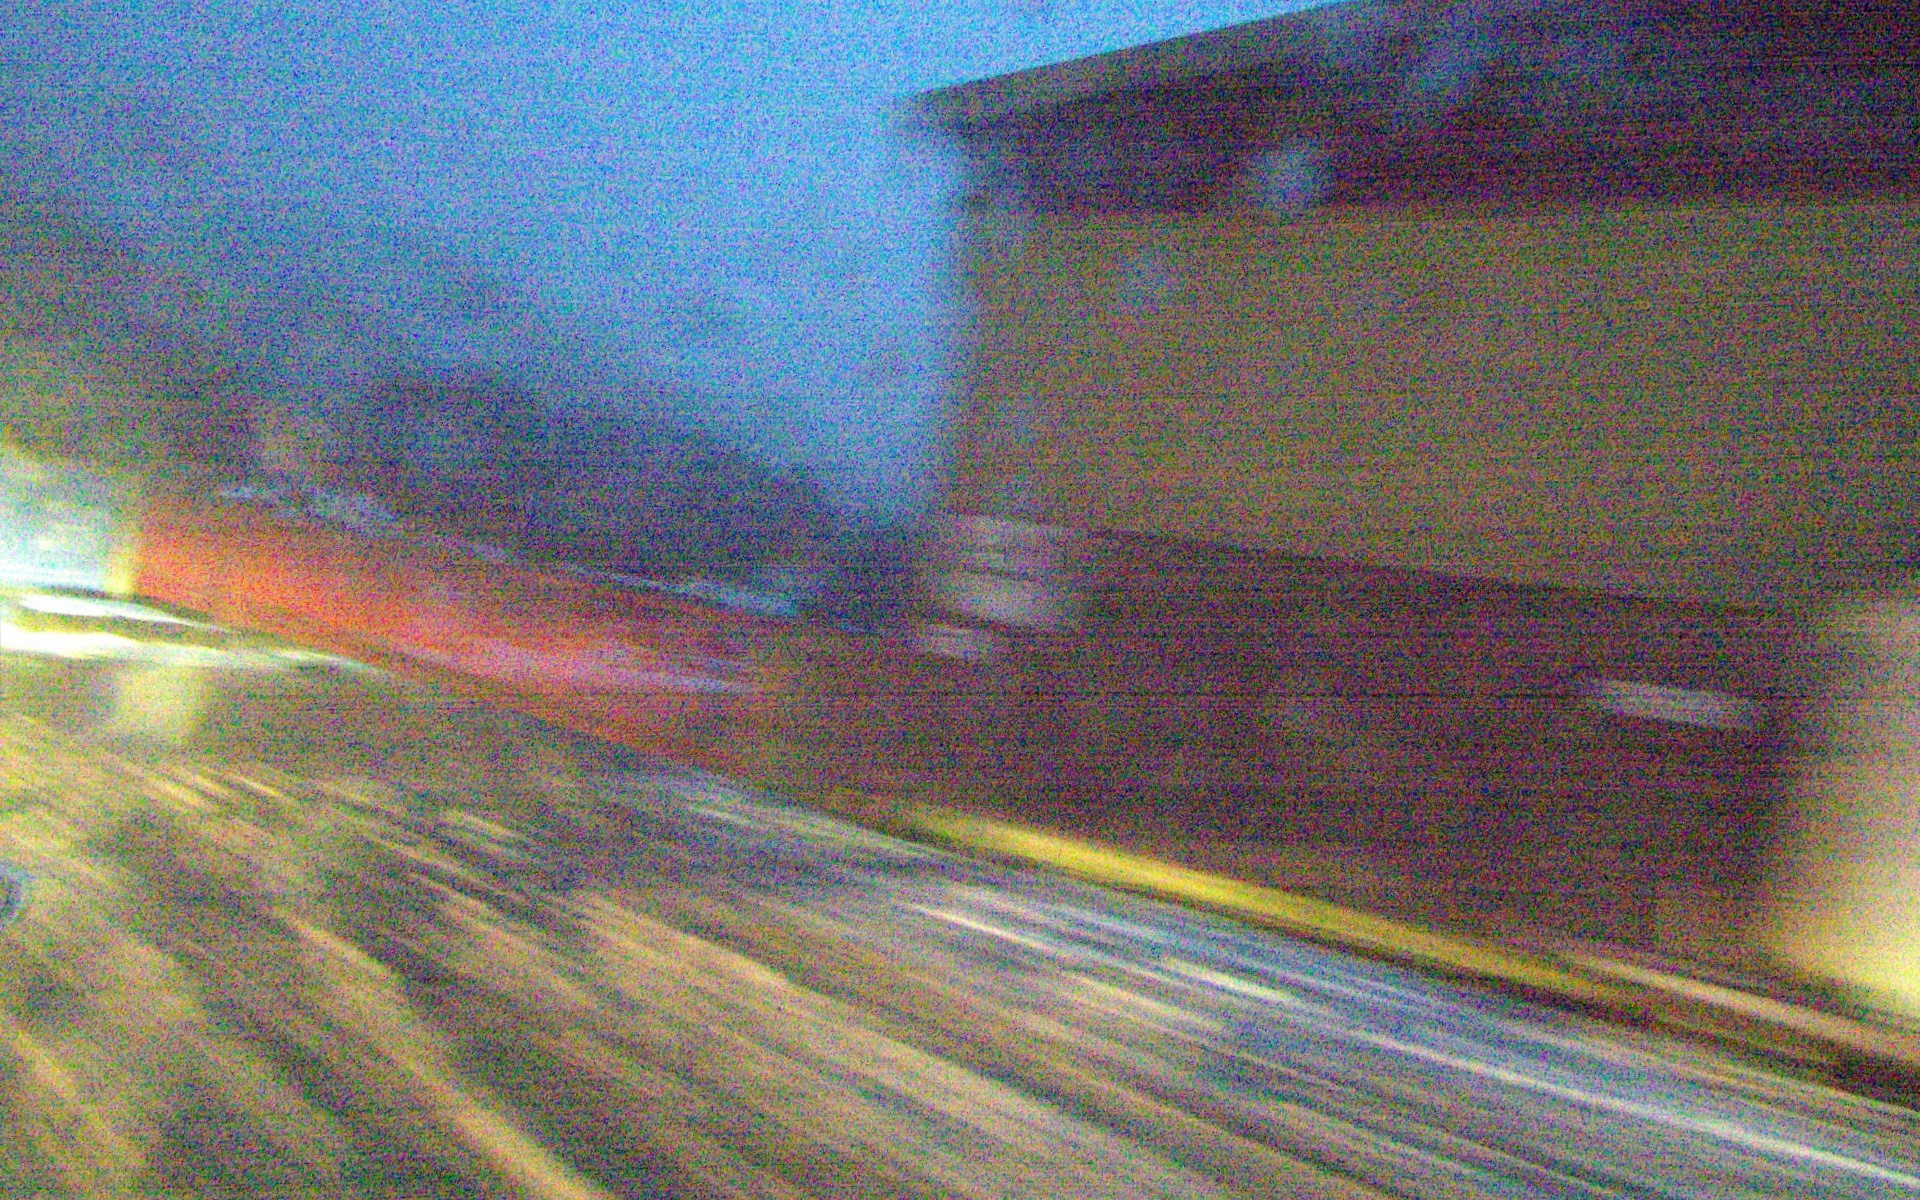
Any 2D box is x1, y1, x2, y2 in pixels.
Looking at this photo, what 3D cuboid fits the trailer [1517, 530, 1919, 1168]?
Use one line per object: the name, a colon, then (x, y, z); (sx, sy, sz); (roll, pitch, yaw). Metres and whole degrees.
trailer: (5.046, 1.214, 4.149); (4.574, 2.388, 1.636); (7, -4, 30)
